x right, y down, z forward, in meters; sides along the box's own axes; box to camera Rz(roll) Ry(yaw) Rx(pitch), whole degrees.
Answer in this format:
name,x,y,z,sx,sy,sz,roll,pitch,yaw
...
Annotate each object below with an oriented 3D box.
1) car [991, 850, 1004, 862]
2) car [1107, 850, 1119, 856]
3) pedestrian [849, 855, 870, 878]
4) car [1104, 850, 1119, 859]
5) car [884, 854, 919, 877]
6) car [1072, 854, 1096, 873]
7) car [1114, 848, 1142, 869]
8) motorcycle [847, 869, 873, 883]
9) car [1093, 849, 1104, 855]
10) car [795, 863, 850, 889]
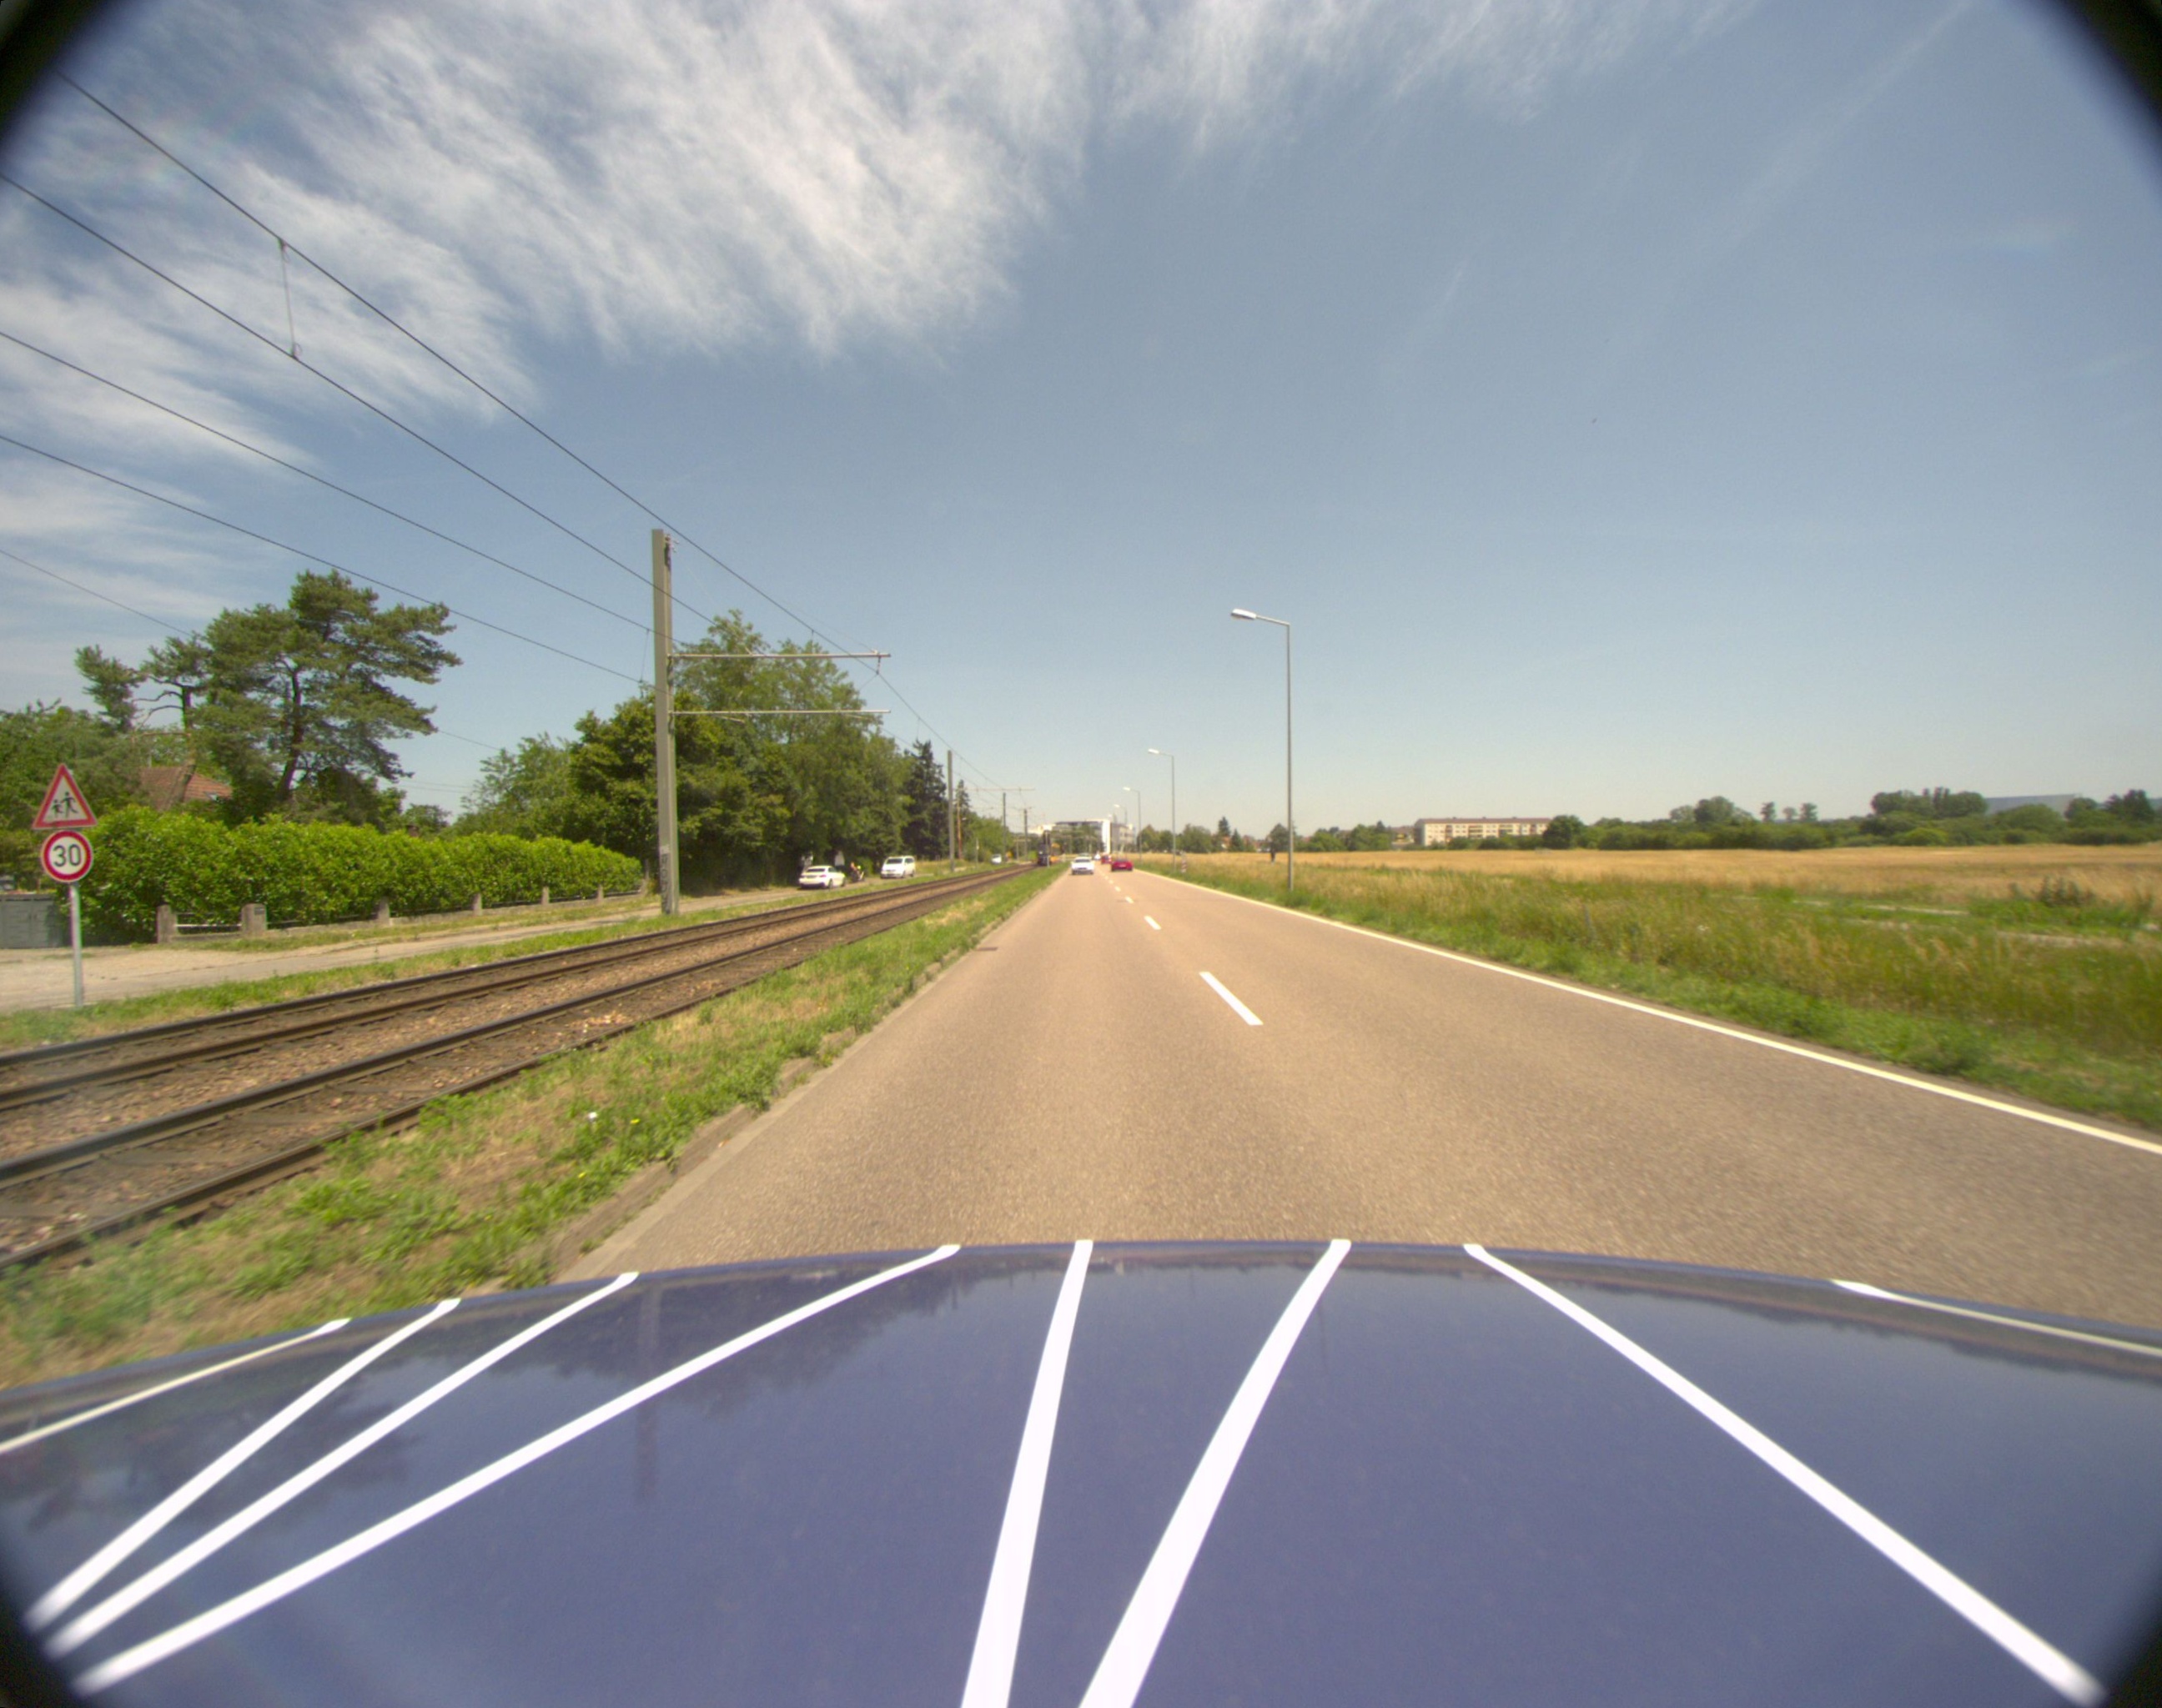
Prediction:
name,x,y,z,sx,sy,sz,roll,pitch,yaw
car,-15.687,0.404,143.133,1.944,2.111,4.587,-2,1,1
car,6.963,-0.188,165.516,2.254,1.254,3.889,-2,1,1
pedestrian,-16.518,0.905,56.648,1.171,1.653,0.880,-2,1,5
car,4.838,0.110,120.211,2.254,1.254,4.365,-2,1,1
car,-15.721,1.013,66.823,1.863,1.816,4.587,-2,1,1
car,0.271,0.771,63.666,1.856,1.447,3.706,-2,1,1
car,4.185,0.393,67.912,2.254,1.677,3.889,-2,1,1
motorcycle,-16.505,1.605,56.737,0.858,0.902,2.791,-2,1,5
car,3.805,-0.406,161.511,2.254,1.254,4.365,-2,1,1
car,-15.968,1.354,47.165,1.923,1.376,3.999,-2,1,1
